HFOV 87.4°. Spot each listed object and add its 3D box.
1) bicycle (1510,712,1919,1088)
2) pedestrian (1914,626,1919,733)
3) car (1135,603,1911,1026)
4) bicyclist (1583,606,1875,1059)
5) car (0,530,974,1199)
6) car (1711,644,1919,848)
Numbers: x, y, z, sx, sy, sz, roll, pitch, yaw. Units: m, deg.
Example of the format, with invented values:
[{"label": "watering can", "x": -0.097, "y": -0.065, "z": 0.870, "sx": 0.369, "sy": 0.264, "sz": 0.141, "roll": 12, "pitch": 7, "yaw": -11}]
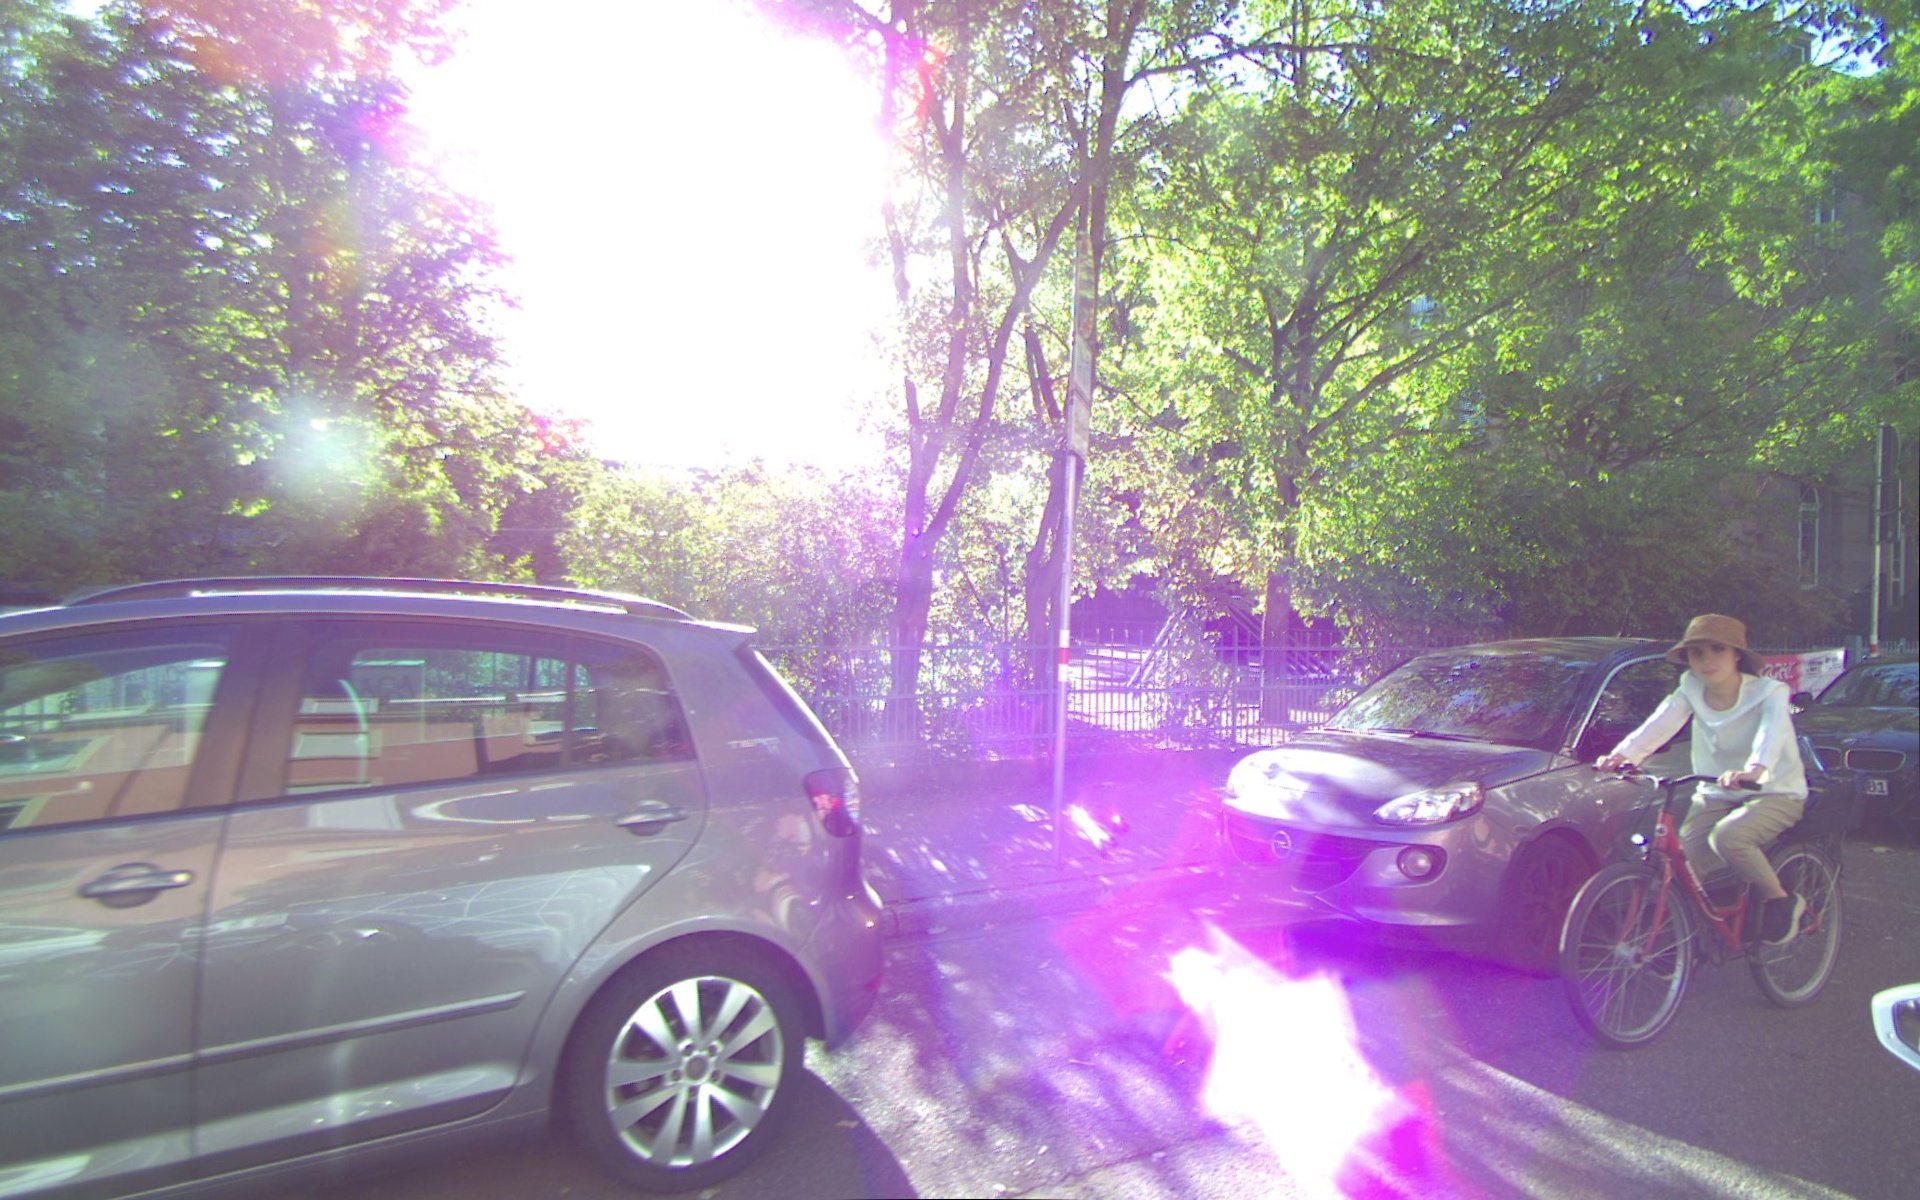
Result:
[{"label": "bicycle", "x": 2.992, "y": 1.034, "z": 3.877, "sx": 1.662, "sy": 1.091, "sz": 0.663, "roll": 1, "pitch": 0, "yaw": -25}, {"label": "pedestrian", "x": 14.707, "y": 1.196, "z": 14.736, "sx": 0.522, "sy": 1.598, "sz": 0.878, "roll": 1, "pitch": 0, "yaw": -26}, {"label": "car", "x": 3.132, "y": 0.893, "z": 5.497, "sx": 4.097, "sy": 1.593, "sz": 1.671, "roll": 1, "pitch": -4, "yaw": -27}, {"label": "bicyclist", "x": 2.911, "y": 0.797, "z": 3.834, "sx": 0.616, "sy": 1.529, "sz": 0.649, "roll": 1, "pitch": 0, "yaw": -25}, {"label": "car", "x": -2.309, "y": 0.707, "z": 2.688, "sx": 4.412, "sy": 1.611, "sz": 1.774, "roll": 1, "pitch": -3, "yaw": -28}, {"label": "car", "x": 8.579, "y": 1.102, "z": 8.502, "sx": 4.720, "sy": 1.413, "sz": 1.707, "roll": 1, "pitch": -5, "yaw": -29}]
